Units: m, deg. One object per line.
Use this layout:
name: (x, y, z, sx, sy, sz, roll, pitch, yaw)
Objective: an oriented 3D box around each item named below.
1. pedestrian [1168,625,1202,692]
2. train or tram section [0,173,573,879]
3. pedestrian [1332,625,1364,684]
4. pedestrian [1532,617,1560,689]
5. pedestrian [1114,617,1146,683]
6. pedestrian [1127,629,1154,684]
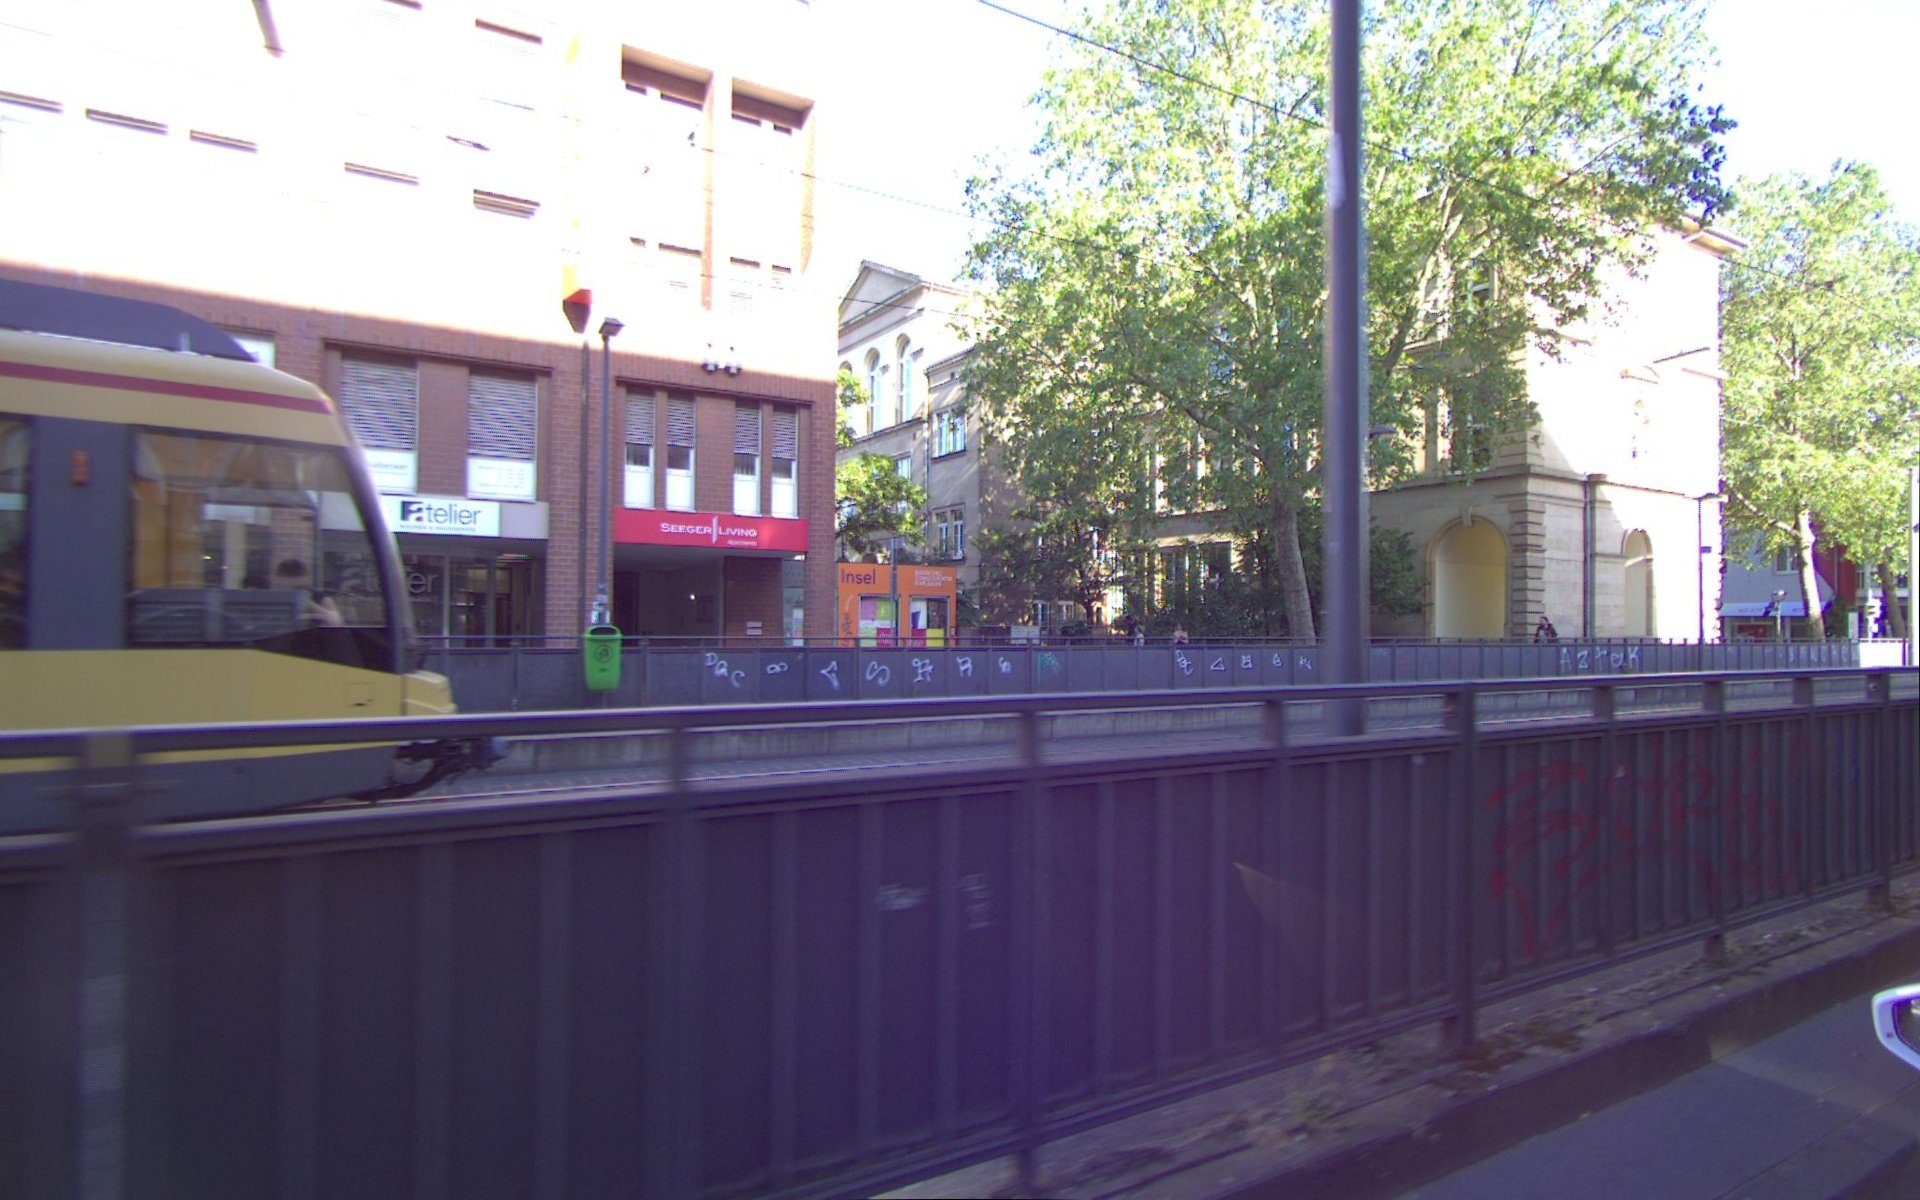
pedestrian: (6.290, 1.622, 28.097, 0.640, 1.830, 0.684, 1, -1, -29)
train or tram section: (-10.345, -0.469, 3.857, 16.290, 3.693, 2.959, 1, 0, -30)
pedestrian: (11.624, 1.623, 30.100, 0.607, 1.735, 0.675, 0, 0, -31)
pedestrian: (16.810, 1.509, 28.831, 0.677, 2.040, 0.702, 0, -1, 30)
pedestrian: (4.952, 1.441, 29.251, 0.618, 1.906, 0.704, 1, -1, -26)
pedestrian: (5.123, 1.592, 28.489, 0.468, 1.550, 0.581, 1, -1, -29)
